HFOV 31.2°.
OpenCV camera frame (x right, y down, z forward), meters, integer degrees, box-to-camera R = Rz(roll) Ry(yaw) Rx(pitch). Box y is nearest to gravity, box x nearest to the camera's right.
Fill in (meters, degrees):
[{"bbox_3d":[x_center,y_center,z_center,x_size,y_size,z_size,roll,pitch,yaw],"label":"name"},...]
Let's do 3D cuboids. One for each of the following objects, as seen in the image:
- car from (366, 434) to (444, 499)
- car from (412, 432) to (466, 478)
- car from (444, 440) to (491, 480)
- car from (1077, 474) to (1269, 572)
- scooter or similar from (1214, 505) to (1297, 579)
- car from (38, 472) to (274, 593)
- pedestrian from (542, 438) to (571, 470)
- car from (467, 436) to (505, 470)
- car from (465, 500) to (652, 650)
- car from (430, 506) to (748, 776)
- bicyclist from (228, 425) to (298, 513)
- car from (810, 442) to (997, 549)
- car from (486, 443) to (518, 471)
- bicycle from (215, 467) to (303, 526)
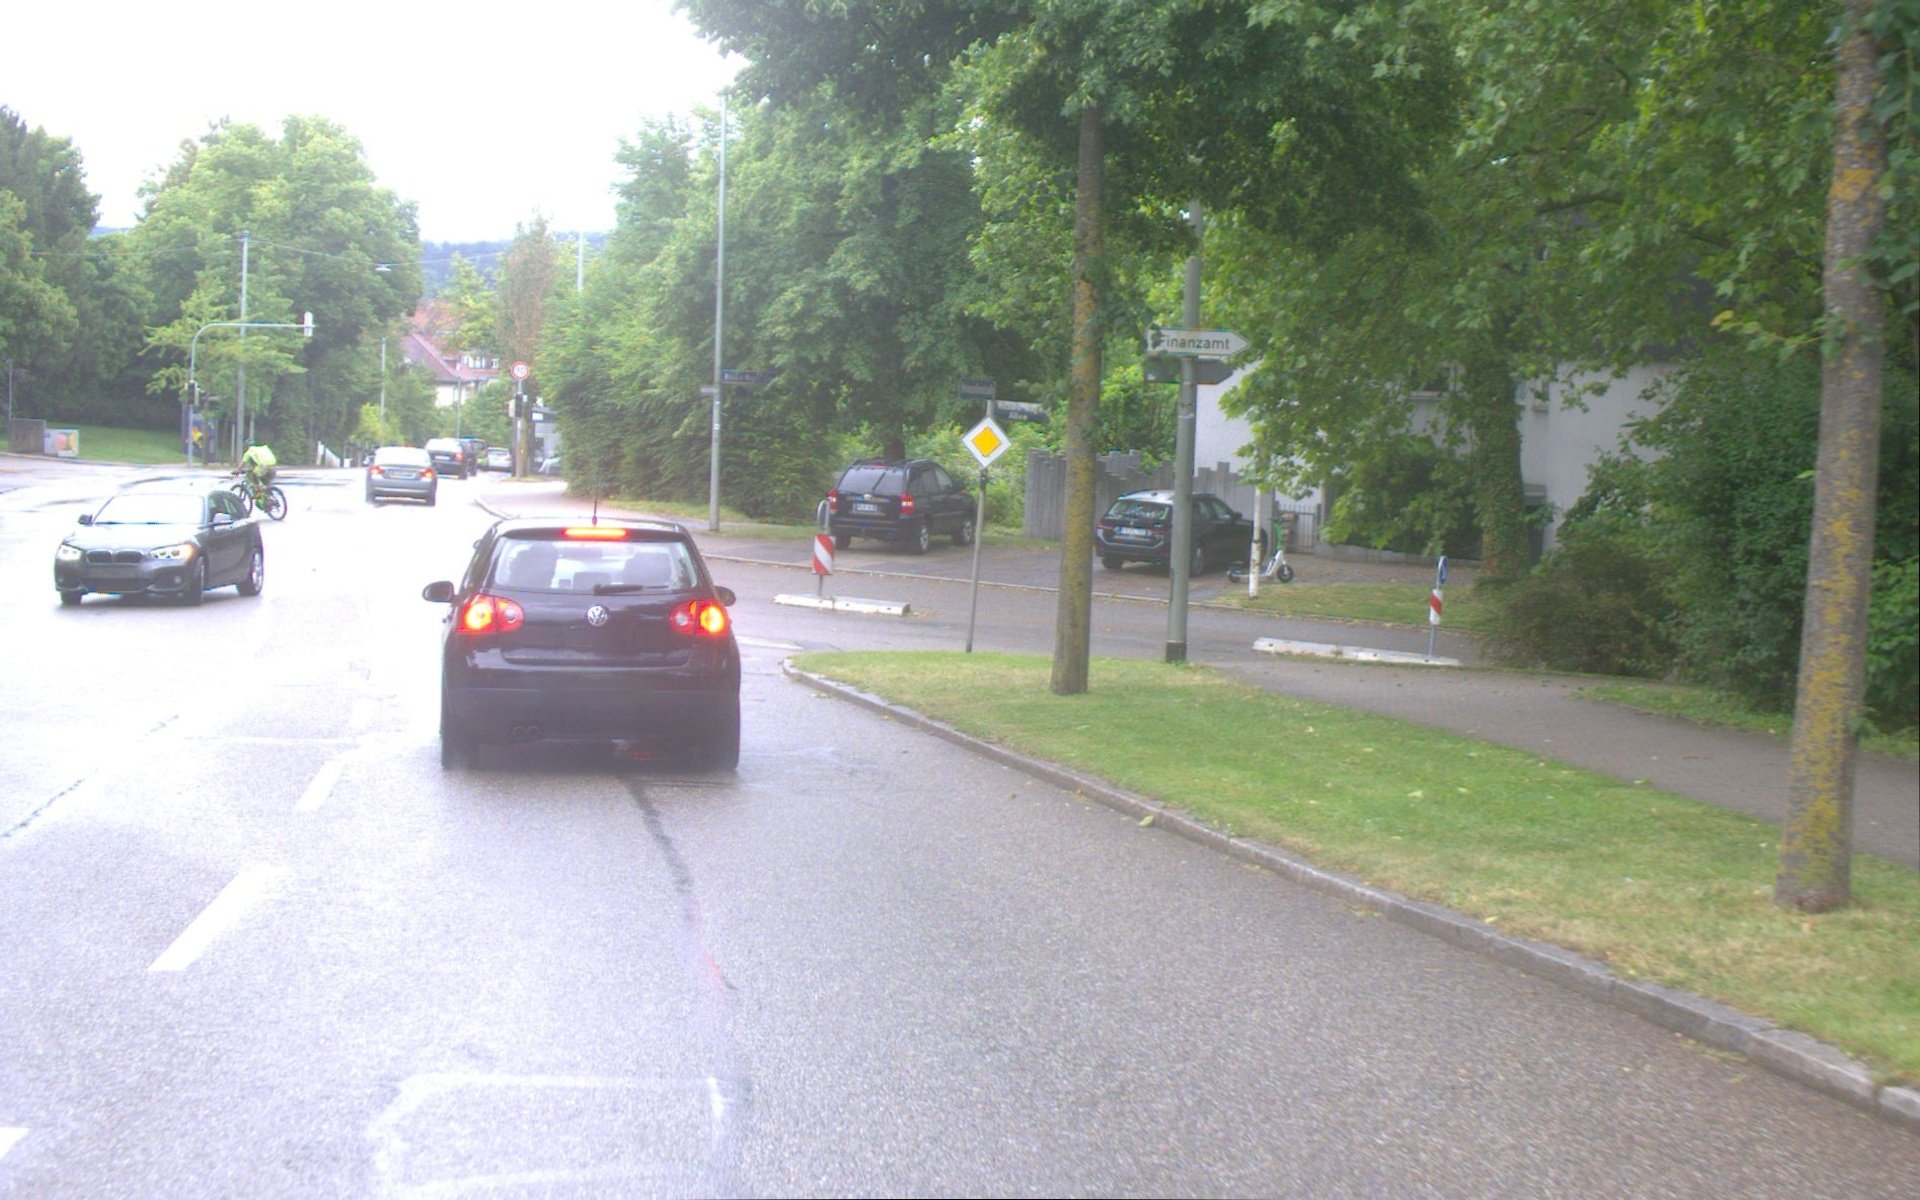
[{"bbox_3d":[-14.016,-3.389,86.910,1.721,1.459,4.002,5,2,-8],"label":"car"},{"bbox_3d":[-18.518,-5.168,122.356,1.721,1.459,4.002,5,2,-8],"label":"car"},{"bbox_3d":[-20.033,-5.704,139.902,1.721,1.459,4.002,5,2,-8],"label":"car"},{"bbox_3d":[3.966,-1.451,63.335,1.754,1.464,4.559,6,6,27],"label":"car"},{"bbox_3d":[5.247,-1.032,61.130,1.335,1.281,0.562,0,2,-15],"label":"scooter or similar"},{"bbox_3d":[-10.006,-0.826,43.055,1.722,1.379,4.139,2,1,3],"label":"car"},{"bbox_3d":[-16.956,-6.132,144.390,1.073,1.351,0.918,1,2,1],"label":"pedestrian"},{"bbox_3d":[-23.097,-7.162,167.592,1.721,1.459,4.002,5,2,-8],"label":"car"},{"bbox_3d":[-4.415,-0.311,37.383,1.754,1.459,4.002,1,2,-10],"label":"car"},{"bbox_3d":[-2.325,0.197,21.250,1.721,1.459,4.001,2,1,-7],"label":"car"},{"bbox_3d":[-14.132,-2.659,69.690,0.852,1.749,1.285,1,2,-39],"label":"bicyclist"},{"bbox_3d":[-1.019,-2.026,65.185,1.949,1.683,4.900,5,6,18],"label":"car"},{"bbox_3d":[-27.080,-8.466,203.225,1.721,1.459,4.002,5,2,-8],"label":"car"},{"bbox_3d":[-14.237,-2.102,69.800,0.852,1.151,2.037,1,2,-39],"label":"bicycle"}]
